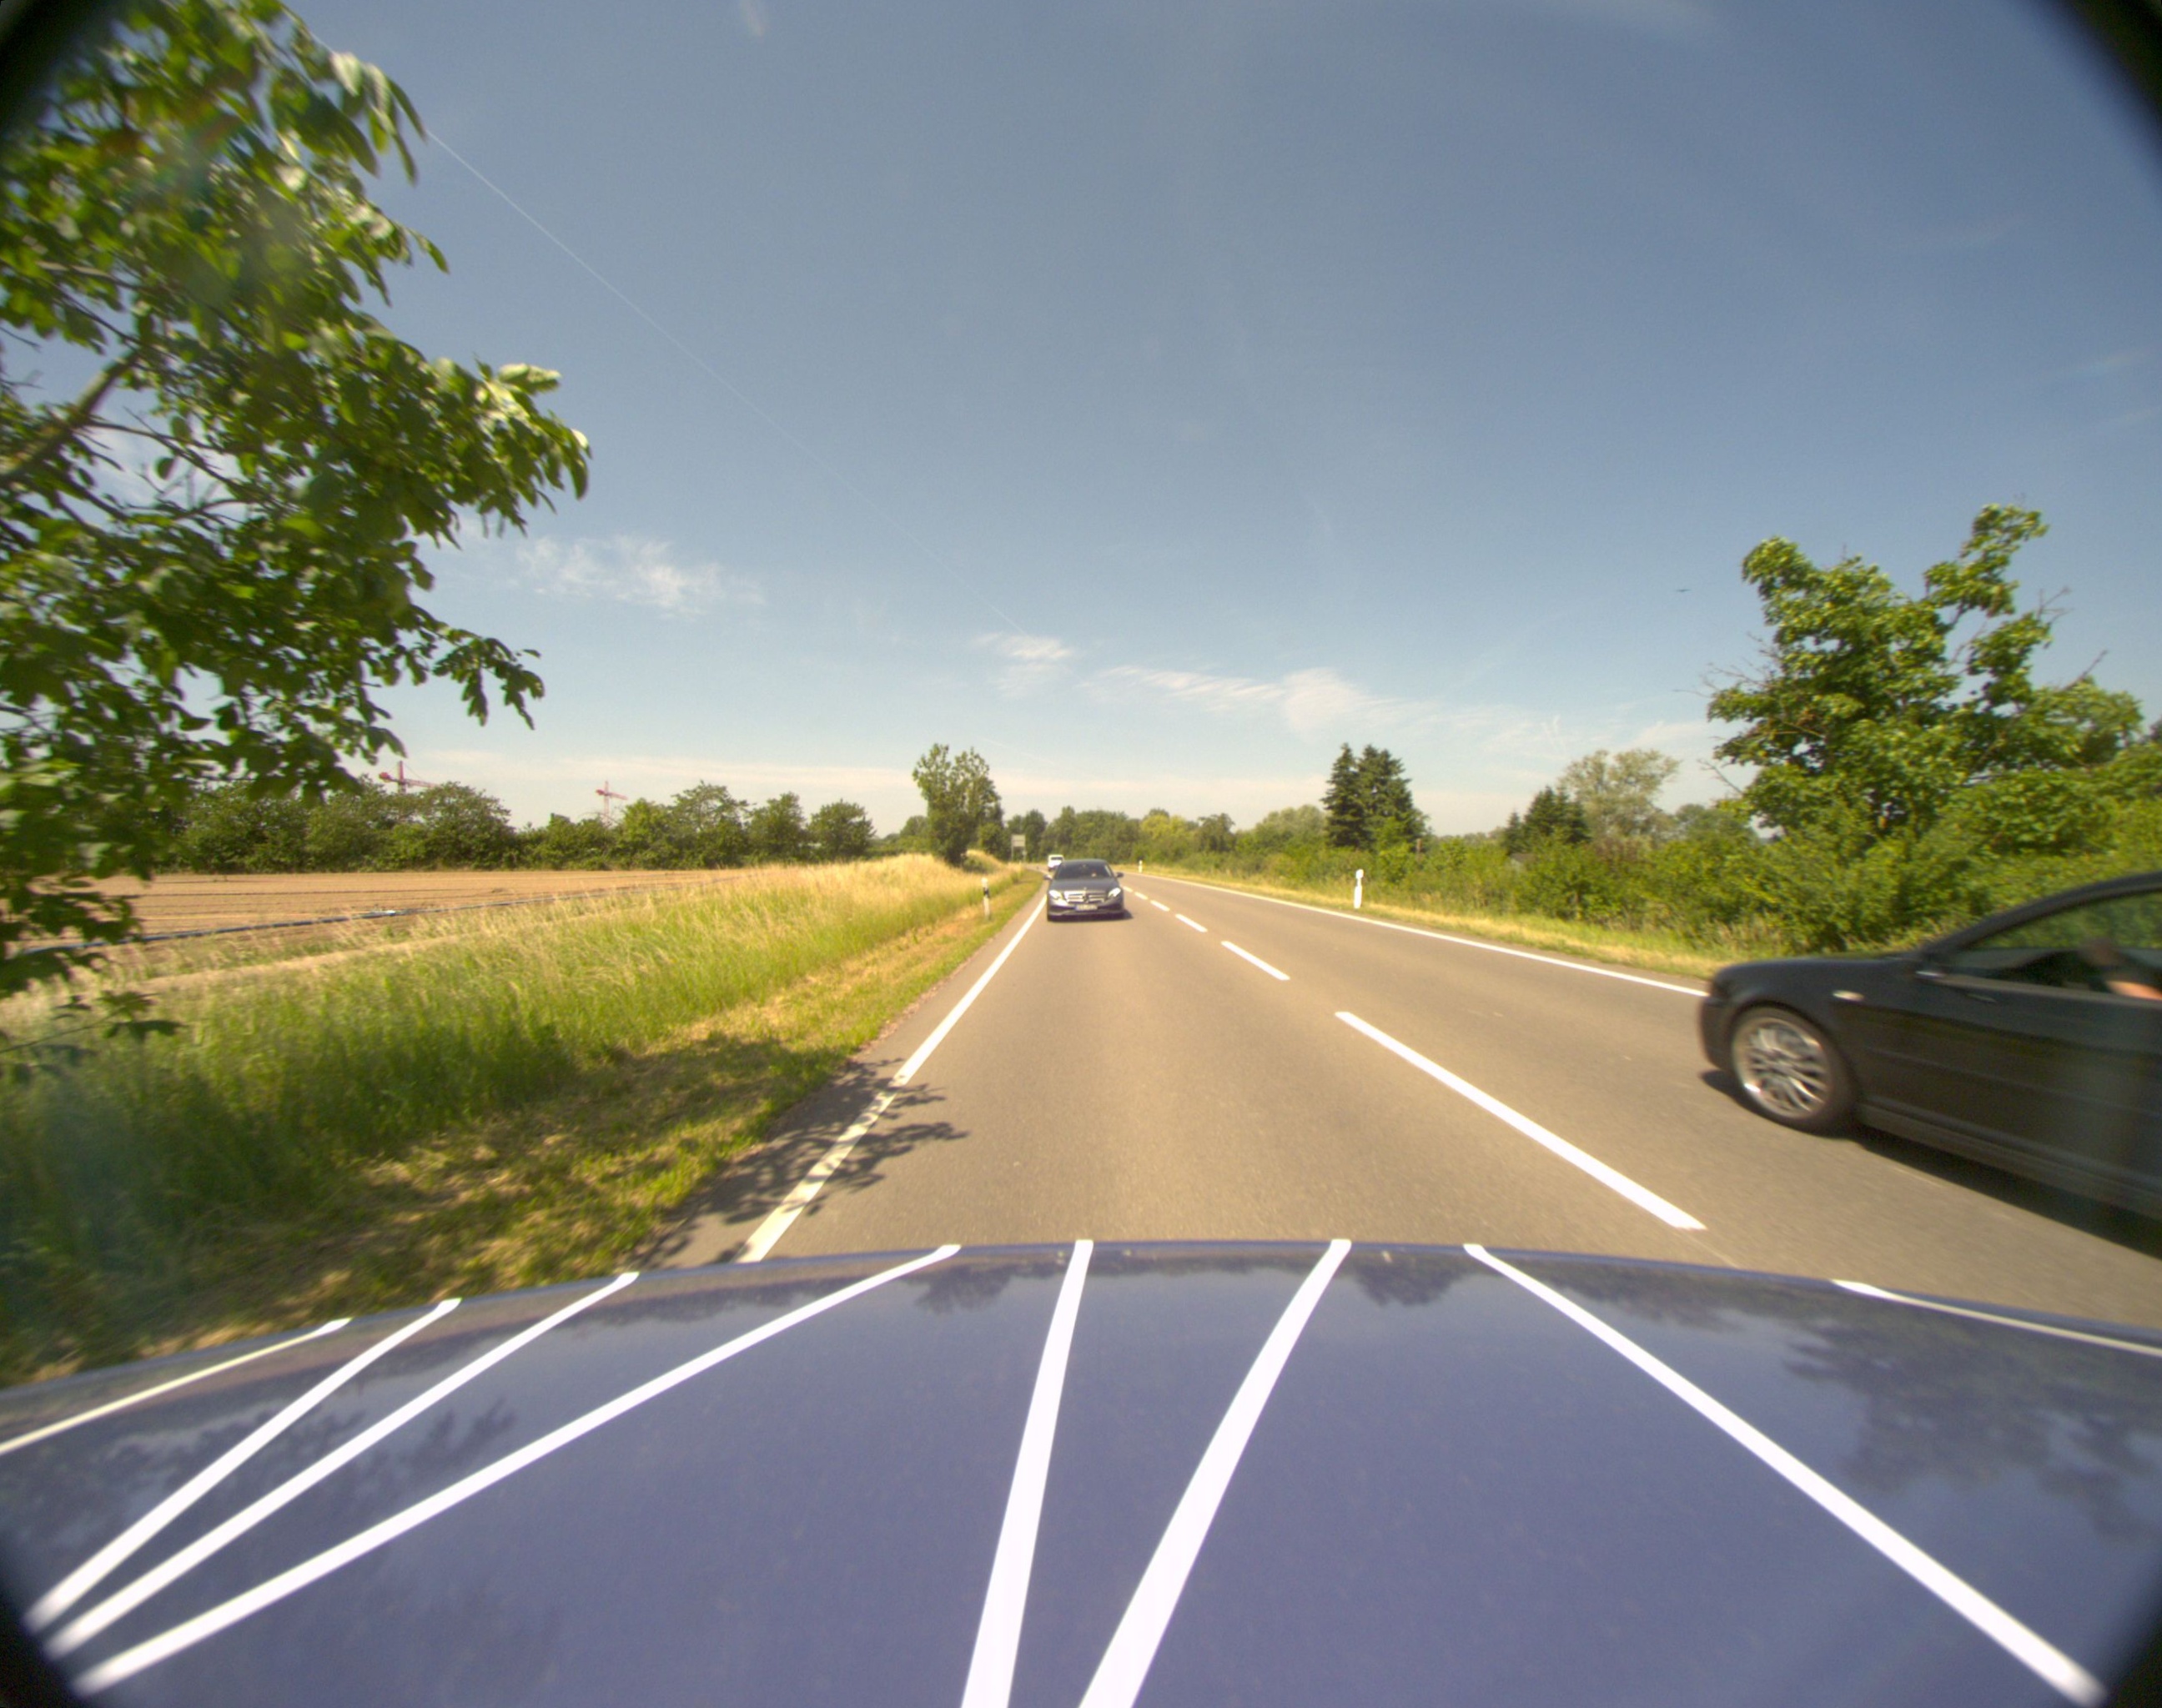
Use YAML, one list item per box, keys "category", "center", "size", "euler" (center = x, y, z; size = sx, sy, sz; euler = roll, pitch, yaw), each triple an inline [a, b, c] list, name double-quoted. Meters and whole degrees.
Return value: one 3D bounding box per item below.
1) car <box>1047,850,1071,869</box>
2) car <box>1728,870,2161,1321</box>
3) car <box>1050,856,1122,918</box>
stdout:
- category: "car"
  center: [-2.600, 0.618, 88.834]
  size: [2.180, 2.002, 5.022]
  euler: [-3, 0, -7]
- category: "car"
  center: [4.337, 0.813, 2.179]
  size: [1.697, 1.355, 3.825]
  euler: [-2, 1, 0]
- category: "car"
  center: [0.154, 0.868, 21.822]
  size: [1.831, 1.540, 4.498]
  euler: [-1, 0, 1]
